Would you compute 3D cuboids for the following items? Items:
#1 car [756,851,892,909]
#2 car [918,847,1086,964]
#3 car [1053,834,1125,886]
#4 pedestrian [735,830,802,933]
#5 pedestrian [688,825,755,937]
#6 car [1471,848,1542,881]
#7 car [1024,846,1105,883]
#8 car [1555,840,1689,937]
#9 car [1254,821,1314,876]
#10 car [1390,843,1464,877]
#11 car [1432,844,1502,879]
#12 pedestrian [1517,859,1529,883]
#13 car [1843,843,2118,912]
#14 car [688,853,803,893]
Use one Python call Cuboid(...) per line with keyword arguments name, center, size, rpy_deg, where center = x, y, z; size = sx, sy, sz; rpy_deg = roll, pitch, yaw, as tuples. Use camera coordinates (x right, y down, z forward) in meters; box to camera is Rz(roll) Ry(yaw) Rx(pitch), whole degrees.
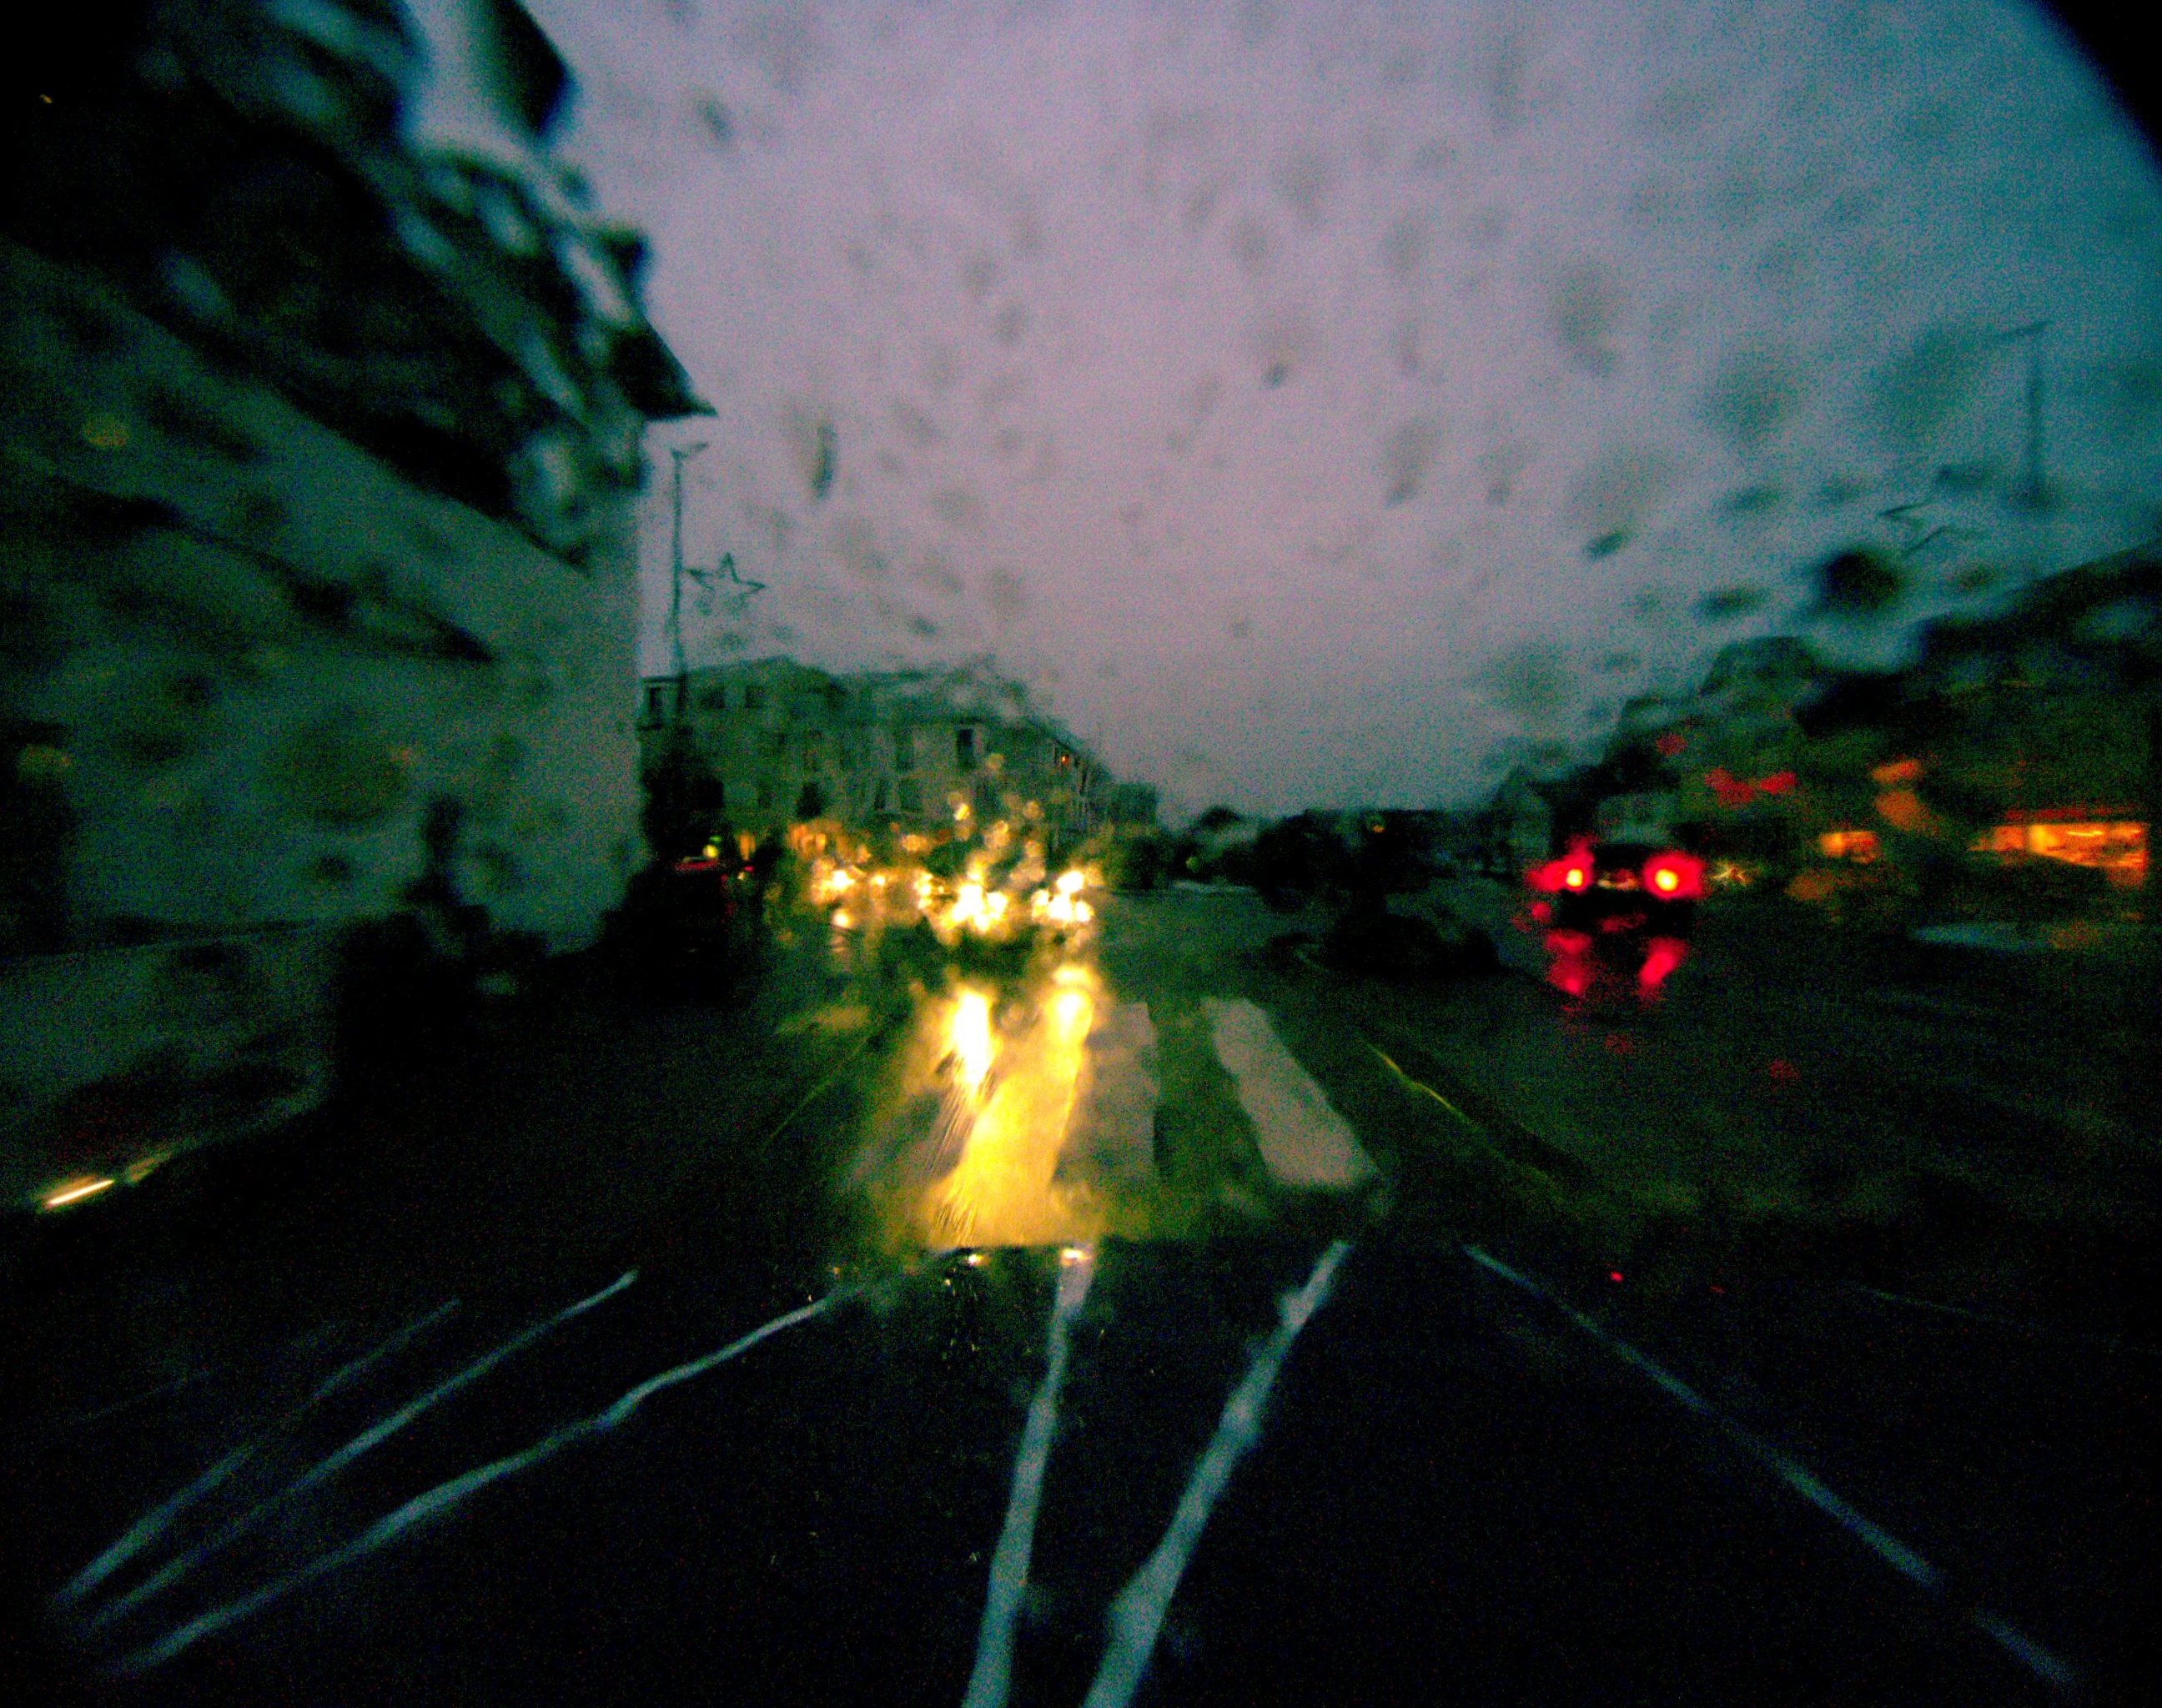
Cuboid(name="car", center=(-7.514, 0.698, 22.069), size=(4.008, 1.471, 1.767), rpy_deg=(0, 2, 38))
Cuboid(name="car", center=(-1.501, 0.688, 12.684), size=(1.960, 1.576, 4.103), rpy_deg=(-1, 1, -18))
Cuboid(name="car", center=(0.271, 0.128, 25.261), size=(2.172, 1.469, 3.998), rpy_deg=(-2, 2, 1))
Cuboid(name="pedestrian", center=(-5.593, 0.457, 13.599), size=(0.789, 1.752, 0.770), rpy_deg=(1, 4, 44))
Cuboid(name="pedestrian", center=(-6.192, 0.438, 13.090), size=(0.789, 1.856, 0.711), rpy_deg=(1, 4, 44))
Cuboid(name="car", center=(27.608, 0.626, 49.456), size=(1.936, 1.871, 3.866), rpy_deg=(-2, 3, -12))
Cuboid(name="car", center=(-0.700, 0.453, 36.355), size=(2.023, 1.471, 4.564), rpy_deg=(-1, 3, 24))
Cuboid(name="car", center=(9.774, 0.526, 13.992), size=(1.703, 1.494, 3.905), rpy_deg=(0, 1, 31))
Cuboid(name="car", center=(8.218, -0.291, 30.472), size=(2.055, 1.976, 4.541), rpy_deg=(-1, 3, 18))
Cuboid(name="car", center=(22.134, 0.336, 48.765), size=(1.974, 1.984, 3.990), rpy_deg=(-3, 3, -25))
Cuboid(name="car", center=(24.924, 0.449, 49.219), size=(1.926, 2.003, 3.966), rpy_deg=(-2, 3, -12))
Cuboid(name="pedestrian", center=(30.753, 1.186, 52.839), size=(0.582, 1.602, 0.500), rpy_deg=(-2, 3, 6))
Cuboid(name="car", center=(23.760, 0.571, 20.373), size=(4.361, 1.597, 1.892), rpy_deg=(0, 3, 32))
Cuboid(name="car", center=(-14.331, 0.791, 32.724), size=(4.277, 1.437, 1.559), rpy_deg=(-2, 3, -15))
